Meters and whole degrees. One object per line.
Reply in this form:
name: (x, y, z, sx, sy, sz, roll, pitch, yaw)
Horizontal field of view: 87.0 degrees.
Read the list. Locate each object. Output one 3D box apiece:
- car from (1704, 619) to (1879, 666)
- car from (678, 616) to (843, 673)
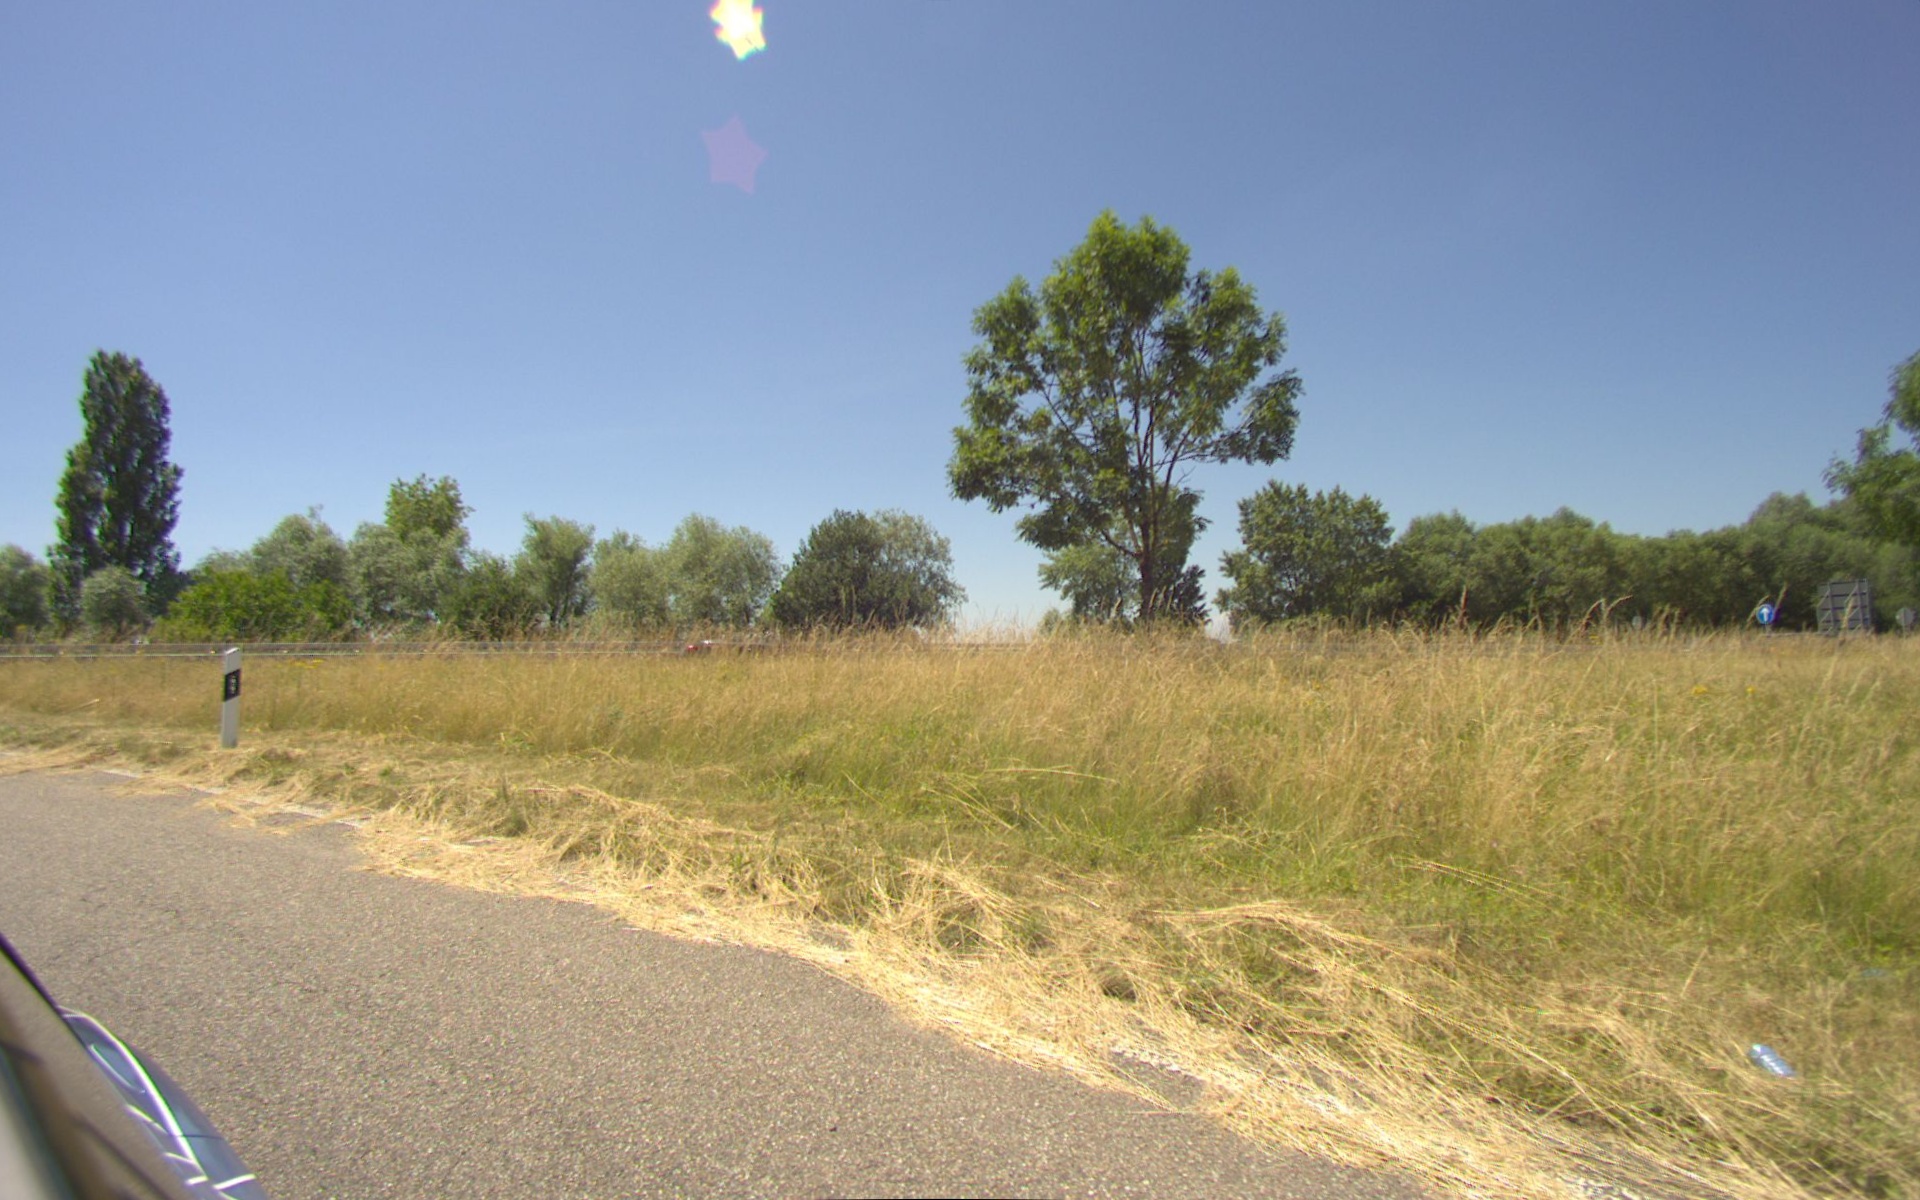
car: (27.979, 1.424, 34.098, 4.921, 1.492, 1.895, 0, -3, -13)
car: (-5.829, 1.273, 29.586, 4.566, 1.585, 2.005, 0, -2, -13)
